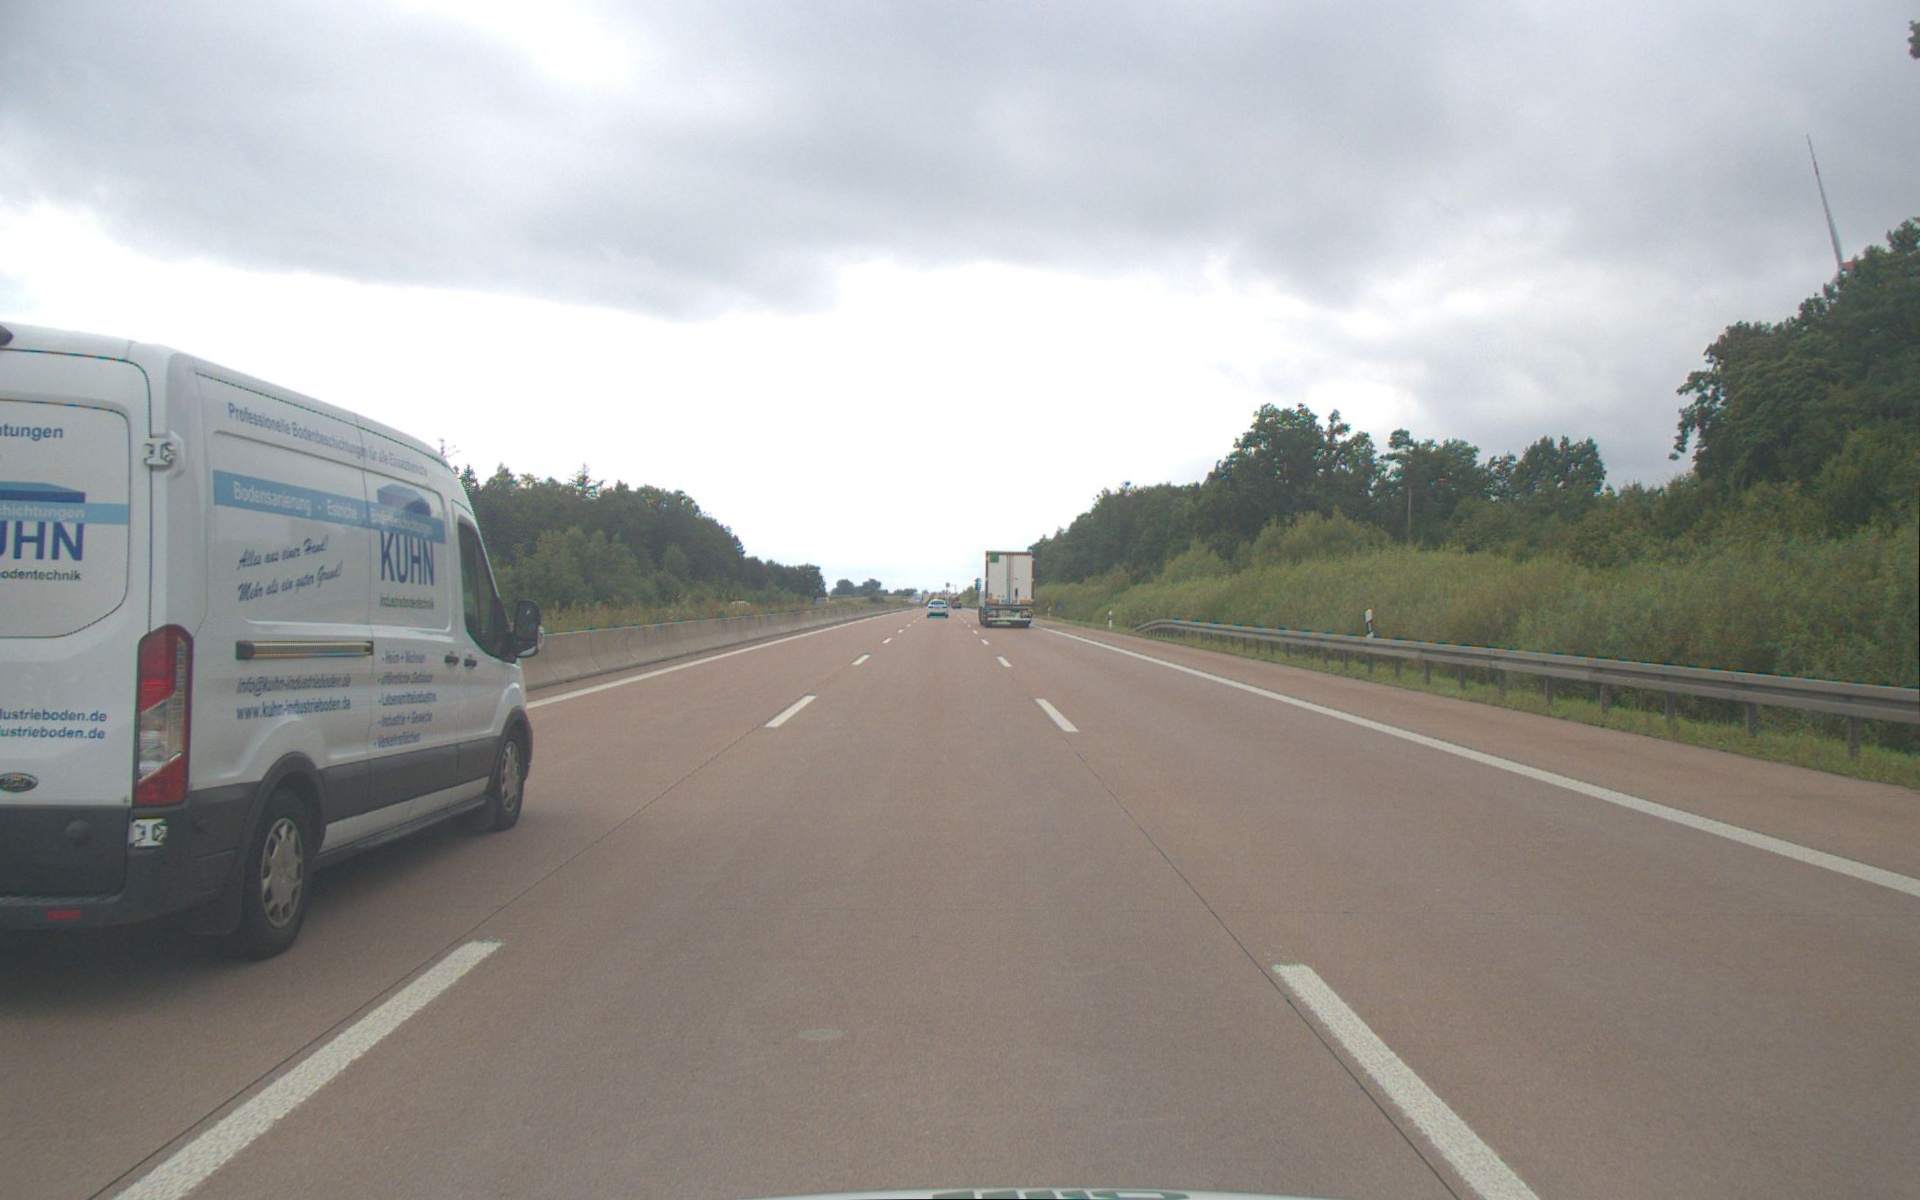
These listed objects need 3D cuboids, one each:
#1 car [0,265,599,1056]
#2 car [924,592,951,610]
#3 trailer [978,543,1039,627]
[{"bbox_3d":[-3.735,0.175,8.883,2.094,2.551,7.130,0,0,-1],"label":"car"},{"bbox_3d":[-1.887,0.088,141.053,2.119,1.476,4.719,1,0,1],"label":"car"},{"bbox_3d":[2.595,-0.932,92.839,2.862,4.368,13.613,0,1,-1],"label":"trailer"}]
